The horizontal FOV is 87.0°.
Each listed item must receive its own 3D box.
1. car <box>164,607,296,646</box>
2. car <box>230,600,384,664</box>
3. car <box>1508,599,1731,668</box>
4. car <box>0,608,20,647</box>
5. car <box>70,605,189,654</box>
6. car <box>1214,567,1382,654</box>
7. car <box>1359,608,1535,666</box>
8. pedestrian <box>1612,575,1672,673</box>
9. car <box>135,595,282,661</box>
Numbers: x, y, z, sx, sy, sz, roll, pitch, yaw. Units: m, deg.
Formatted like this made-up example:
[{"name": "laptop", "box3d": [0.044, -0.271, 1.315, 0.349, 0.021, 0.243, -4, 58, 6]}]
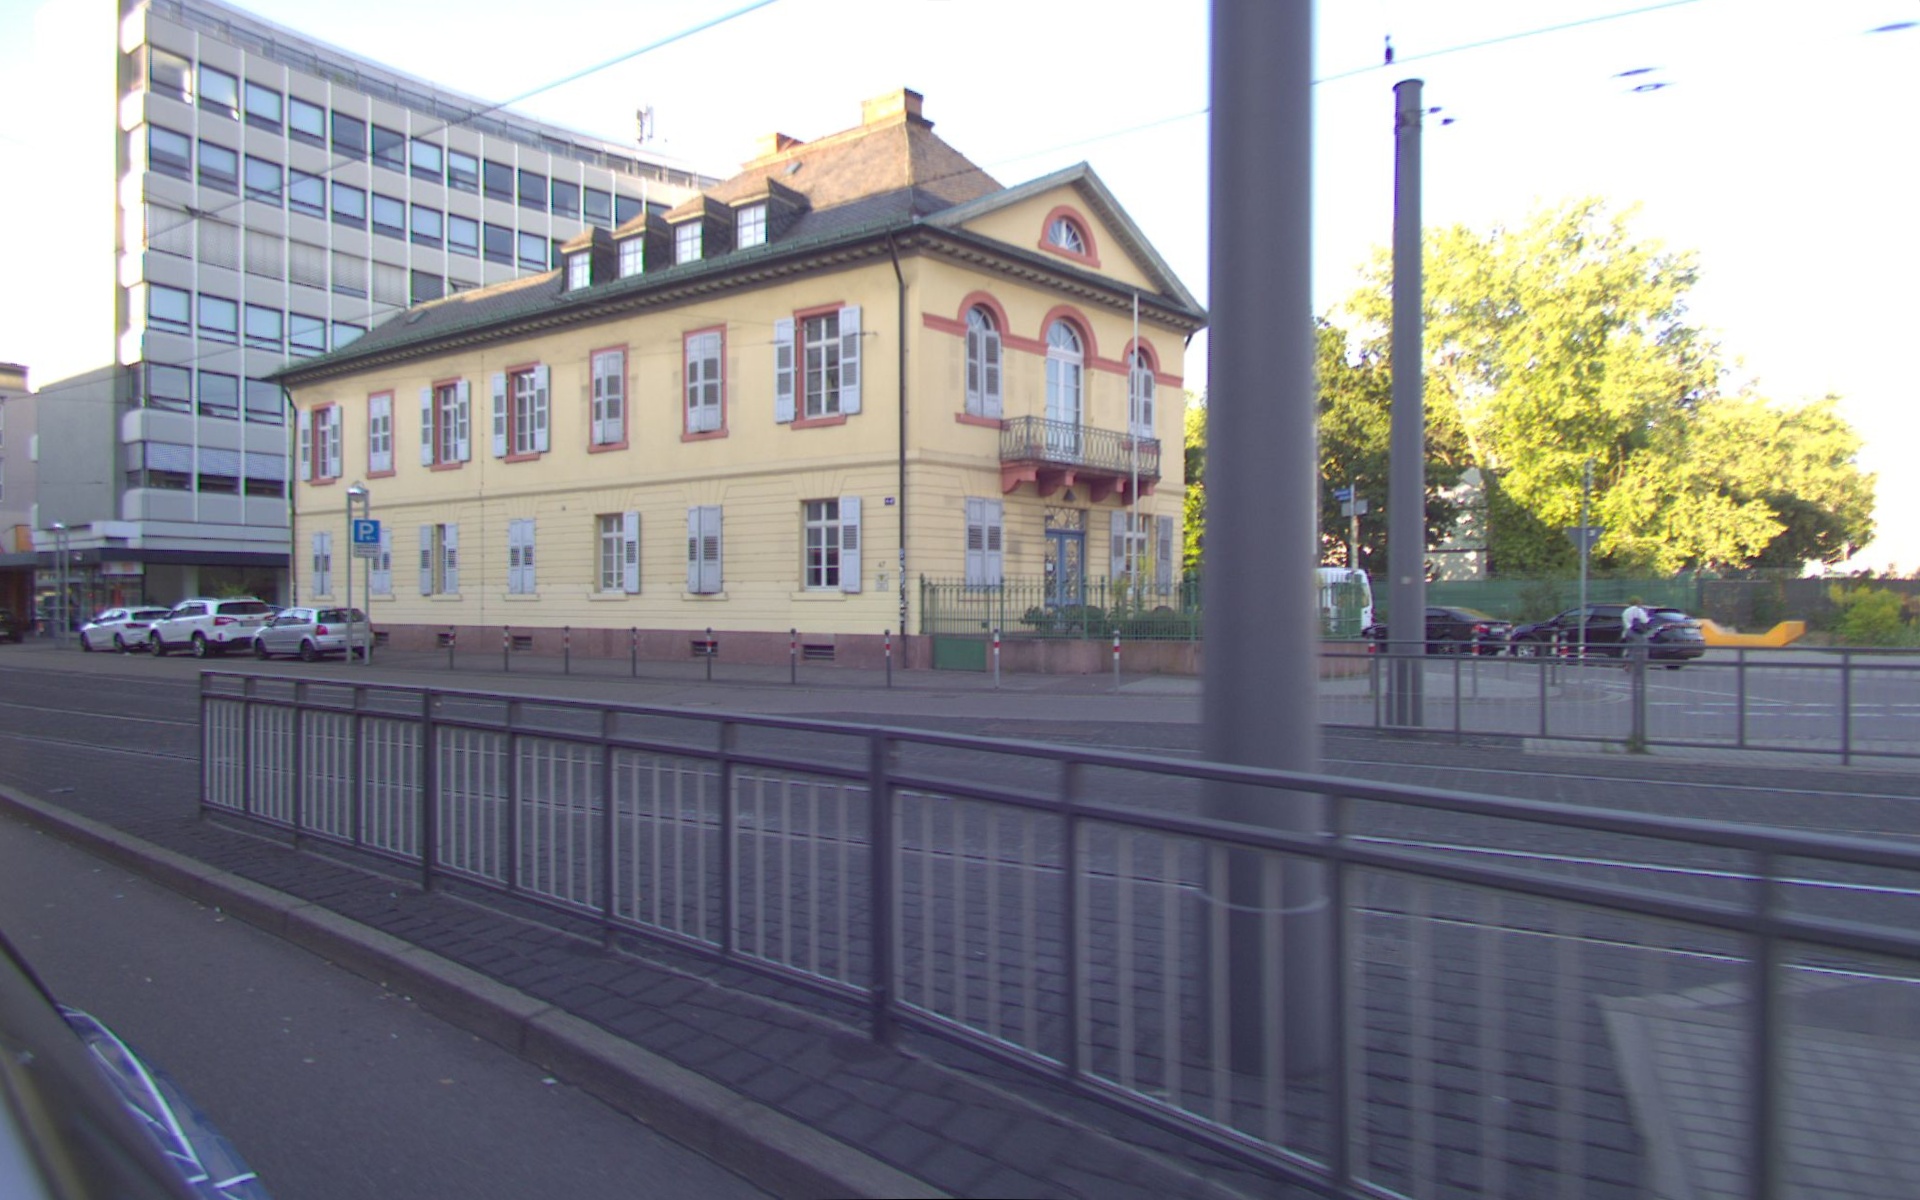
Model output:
[{"name": "car", "box3d": [-29.545, 1.047, 41.075, 1.841, 1.478, 3.955, 0, -1, 33]}, {"name": "car", "box3d": [-17.854, 0.823, 27.639, 4.196, 1.629, 1.801, 0, 0, 29]}, {"name": "car", "box3d": [15.612, 0.747, 24.186, 1.965, 1.497, 4.013, 0, 0, -27]}, {"name": "car", "box3d": [-39.587, 1.105, 40.639, 4.200, 1.523, 1.673, 0, 0, 32]}, {"name": "car", "box3d": [-27.585, 0.945, 33.581, 4.419, 1.523, 1.798, 0, -1, 33]}, {"name": "car", "box3d": [11.036, 0.334, 33.578, 2.062, 2.650, 5.443, 0, 0, -26]}, {"name": "car", "box3d": [13.565, 0.965, 28.422, 1.965, 1.497, 4.107, 0, 0, -27]}, {"name": "pedestrian", "box3d": [13.678, 0.470, 20.301, 0.717, 1.907, 0.767, 0, -1, -35]}, {"name": "car", "box3d": [-22.432, 0.798, 30.176, 4.477, 1.799, 1.801, 0, 1, 29]}]
